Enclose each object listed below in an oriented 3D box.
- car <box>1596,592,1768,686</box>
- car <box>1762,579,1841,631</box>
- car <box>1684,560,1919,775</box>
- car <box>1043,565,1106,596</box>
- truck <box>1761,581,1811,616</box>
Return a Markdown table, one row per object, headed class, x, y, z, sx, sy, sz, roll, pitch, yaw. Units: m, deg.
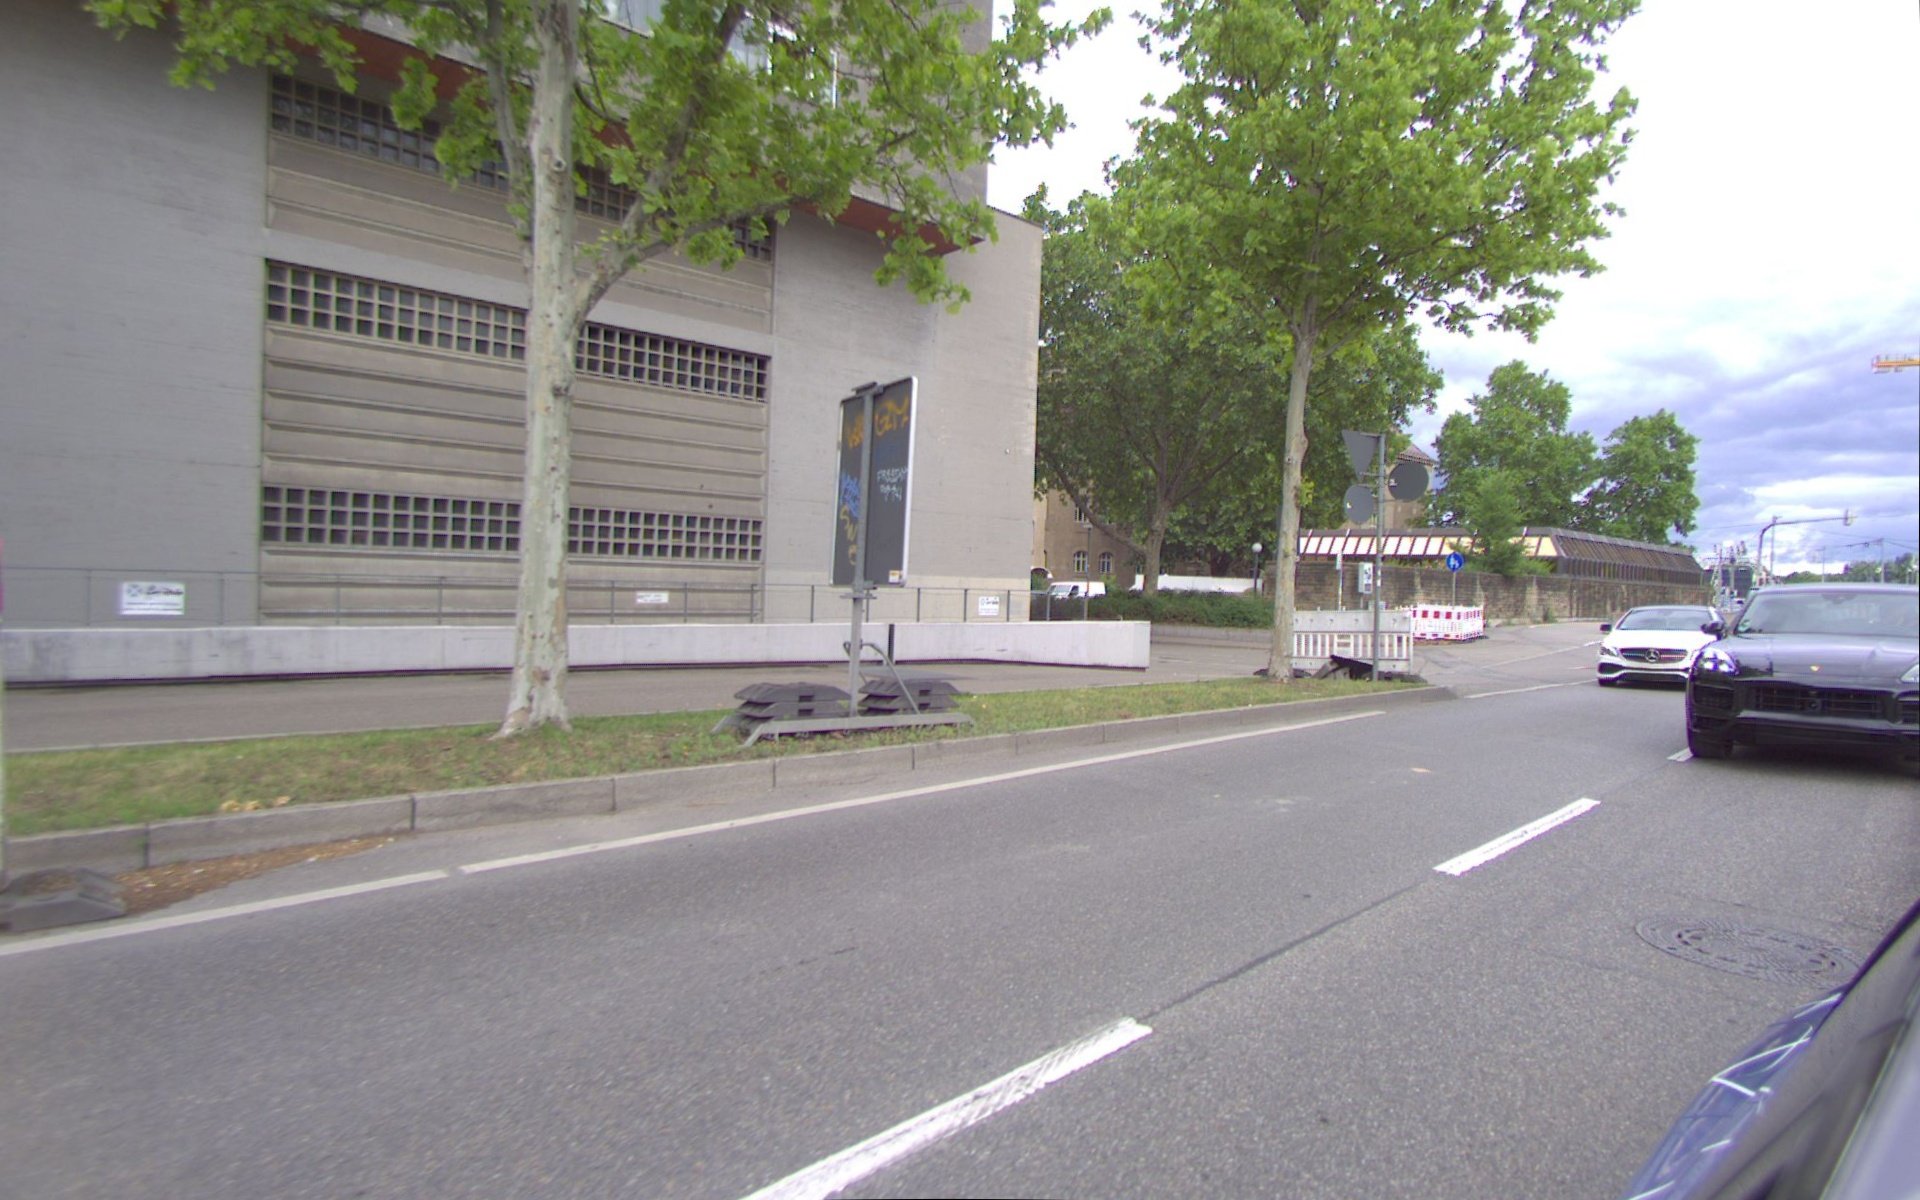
| class | x | y | z | sx | sy | sz | roll | pitch | yaw |
| --- | --- | --- | --- | --- | --- | --- | --- | --- | --- |
| car | 12.834 | 0.637 | 17.887 | 4.308 | 1.454 | 1.736 | 1 | -1 | -44 |
| car | 31.938 | 0.167 | 38.400 | 3.709 | 1.848 | 1.810 | 0 | 2 | -43 |
| car | 8.729 | 0.547 | 9.829 | 4.531 | 1.668 | 1.953 | 1 | 0 | -44 |
| car | 7.144 | -1.218 | 63.038 | 3.906 | 1.848 | 1.810 | 0 | 2 | -43 |
| truck | 95.421 | -0.195 | 116.997 | 2.887 | 3.720 | 8.931 | 2 | 1 | 30 |
